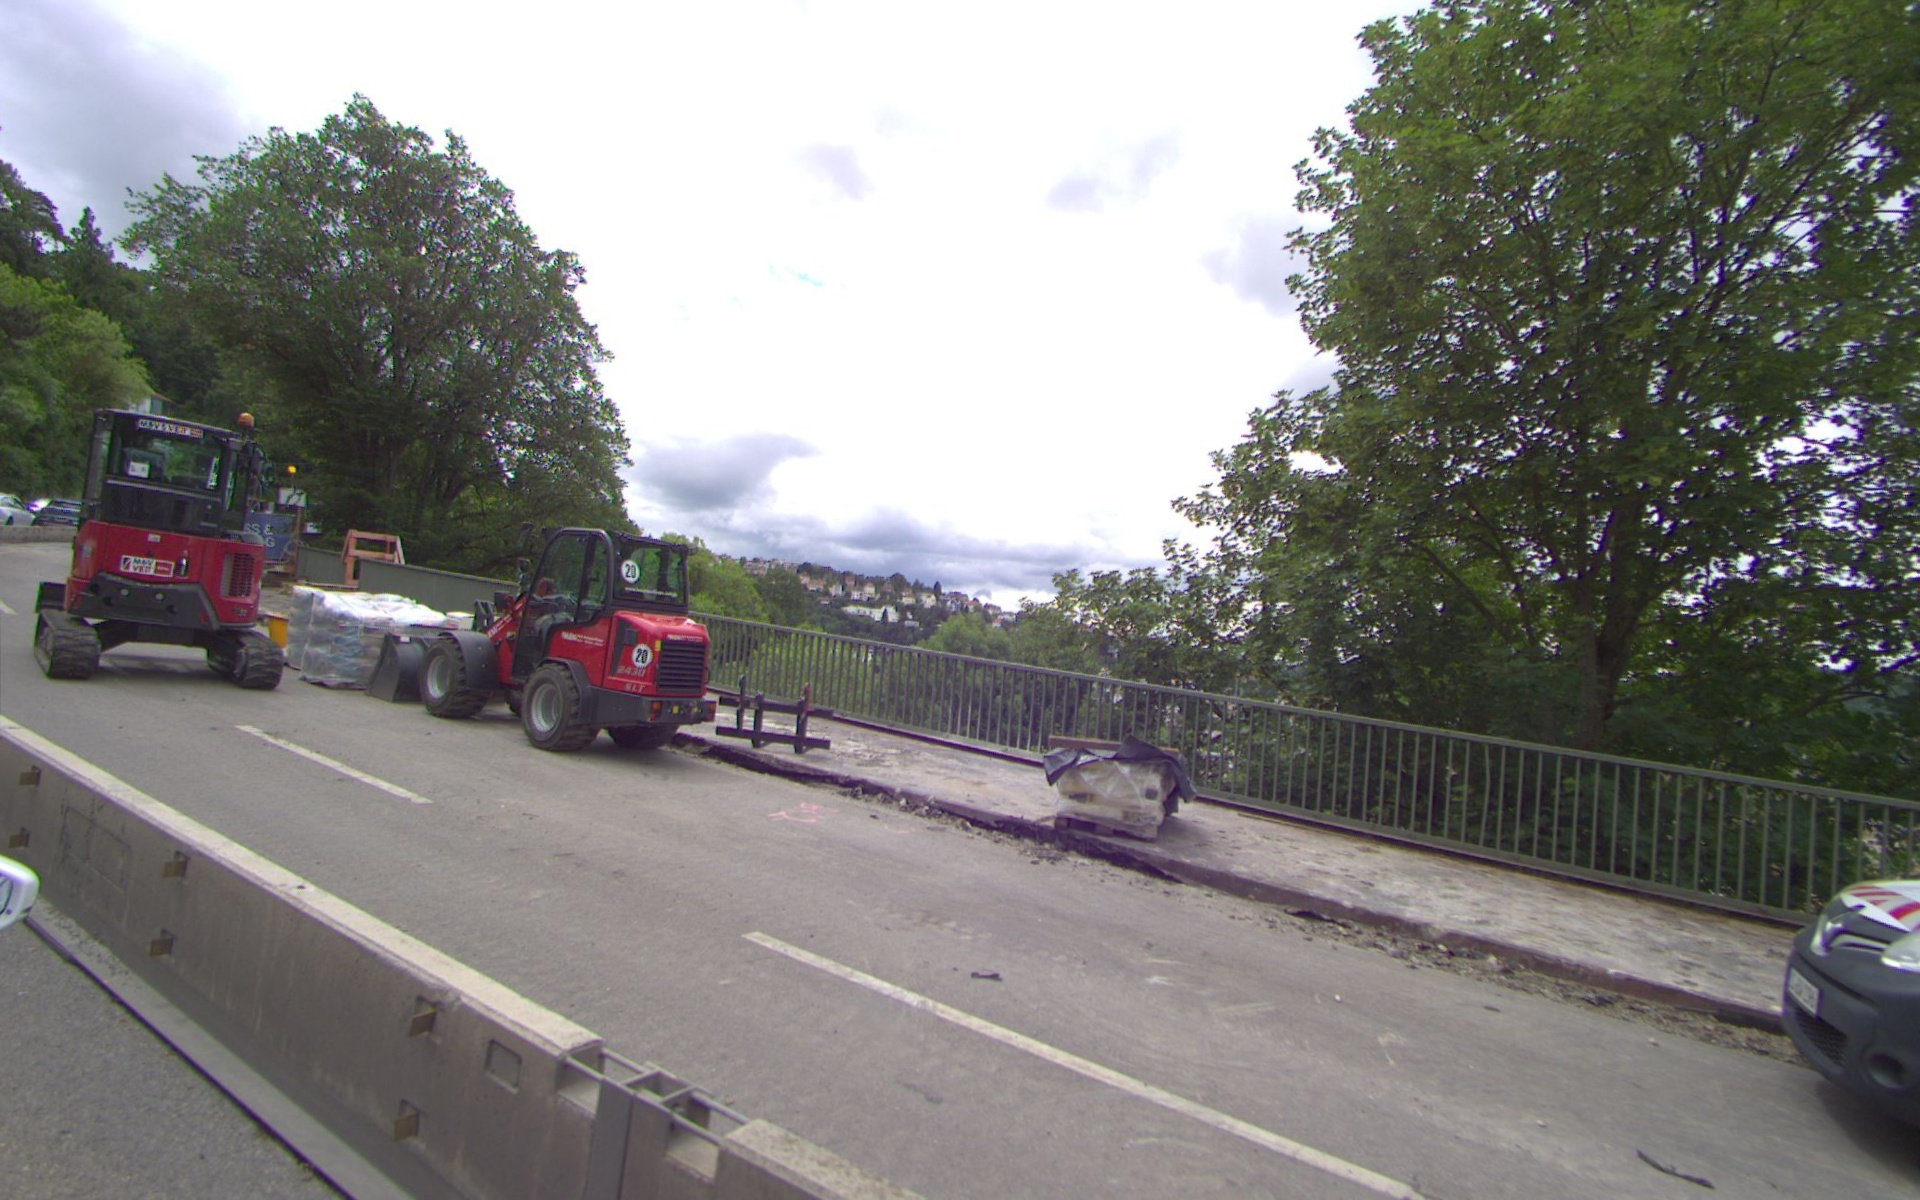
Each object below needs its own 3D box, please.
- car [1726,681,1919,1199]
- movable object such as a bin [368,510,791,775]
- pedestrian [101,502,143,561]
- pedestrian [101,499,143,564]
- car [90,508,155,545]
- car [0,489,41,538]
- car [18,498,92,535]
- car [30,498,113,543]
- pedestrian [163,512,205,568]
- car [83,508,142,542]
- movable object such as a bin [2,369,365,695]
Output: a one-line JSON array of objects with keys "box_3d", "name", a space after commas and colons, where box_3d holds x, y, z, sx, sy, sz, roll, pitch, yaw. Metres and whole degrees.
[{"box_3d": [5.488, 1.499, 3.435, 4.196, 1.800, 1.836, 7, -1, 31], "name": "car"}, {"box_3d": [-3.876, 0.333, 10.012, 4.098, 1.965, 1.703, 7, -2, 34], "name": "movable object such as a bin"}, {"box_3d": [-28.046, -2.294, 33.667, 0.873, 1.844, 0.868, 7, 0, -41], "name": "pedestrian"}, {"box_3d": [-26.713, -2.189, 32.064, 0.813, 1.929, 0.690, 7, 0, 36], "name": "pedestrian"}, {"box_3d": [-45.439, -3.972, 54.672, 1.795, 1.683, 3.972, 7, -1, -28], "name": "car"}, {"box_3d": [-35.156, -3.220, 36.319, 1.795, 1.683, 3.972, 7, -1, -28], "name": "car"}, {"box_3d": [-48.449, -4.442, 53.954, 1.754, 1.468, 4.279, 10, -2, -27], "name": "car"}, {"box_3d": [-40.438, -3.590, 45.875, 1.795, 1.683, 3.972, 7, -1, -28], "name": "car"}, {"box_3d": [-25.332, -1.947, 32.860, 0.775, 1.708, 0.780, 7, 0, -25], "name": "pedestrian"}, {"box_3d": [-51.403, -4.529, 61.082, 1.795, 1.683, 3.972, 7, -1, -28], "name": "car"}, {"box_3d": [-8.716, -0.695, 11.088, 4.879, 2.693, 2.209, 6, -2, 44], "name": "movable object such as a bin"}]
